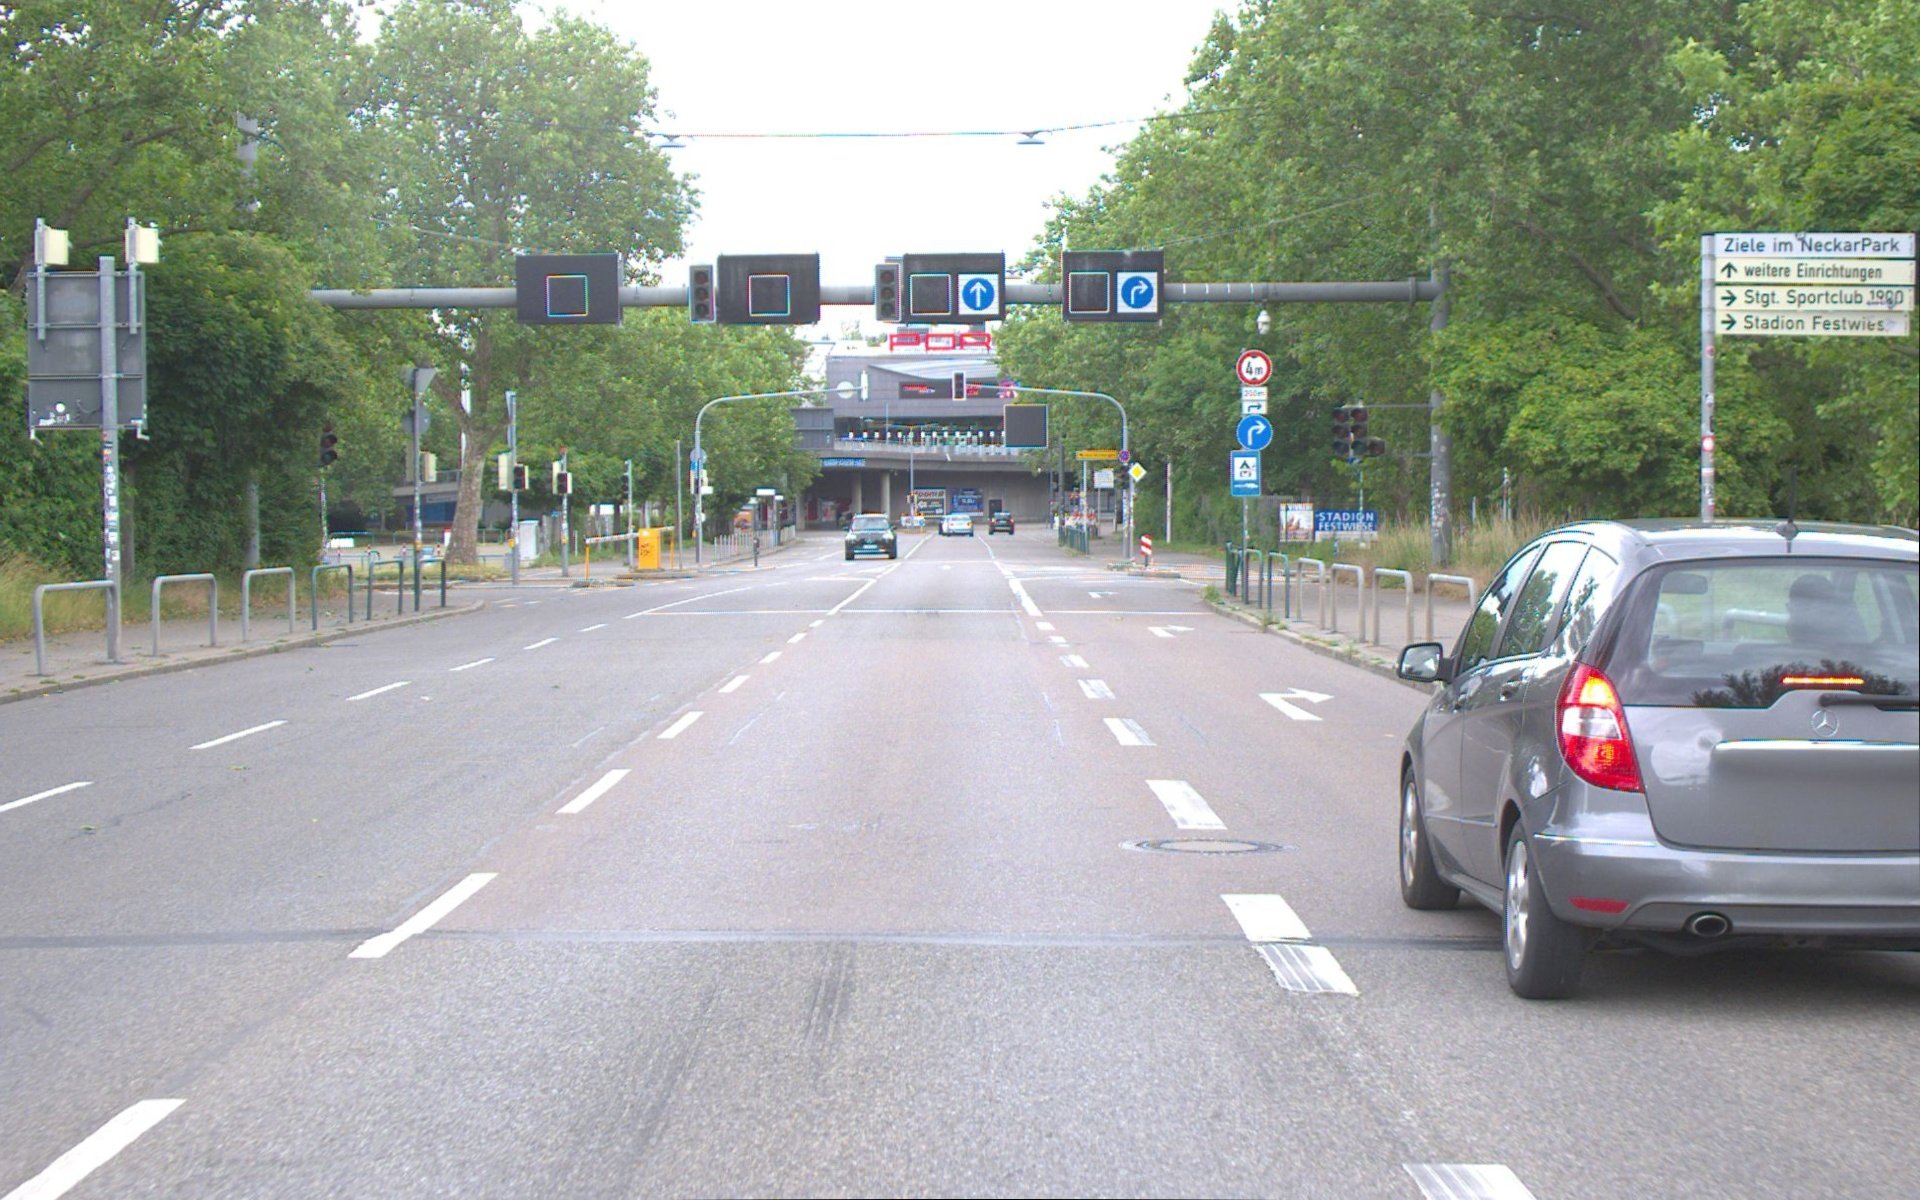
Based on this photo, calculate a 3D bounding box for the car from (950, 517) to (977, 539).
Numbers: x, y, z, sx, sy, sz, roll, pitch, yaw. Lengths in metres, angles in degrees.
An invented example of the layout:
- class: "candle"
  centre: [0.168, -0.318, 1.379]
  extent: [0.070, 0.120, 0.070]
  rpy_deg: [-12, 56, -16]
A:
- class: "car"
  centre: [0.228, -4.983, 239.078]
  extent: [1.778, 1.455, 3.822]
  rpy_deg: [1, 1, 1]

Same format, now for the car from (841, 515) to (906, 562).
- class: "car"
  centre: [-3.158, -2.269, 126.725]
  extent: [1.994, 1.654, 4.517]
  rpy_deg: [-2, 1, 3]

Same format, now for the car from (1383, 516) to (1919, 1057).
- class: "car"
  centre: [2.622, 0.565, 12.247]
  extent: [1.826, 1.611, 4.034]
  rpy_deg: [0, 0, 1]

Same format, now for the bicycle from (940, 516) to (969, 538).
- class: "bicycle"
  centre: [-0.400, -5.273, 247.992]
  extent: [1.993, 1.503, 4.001]
  rpy_deg: [0, 2, -1]
